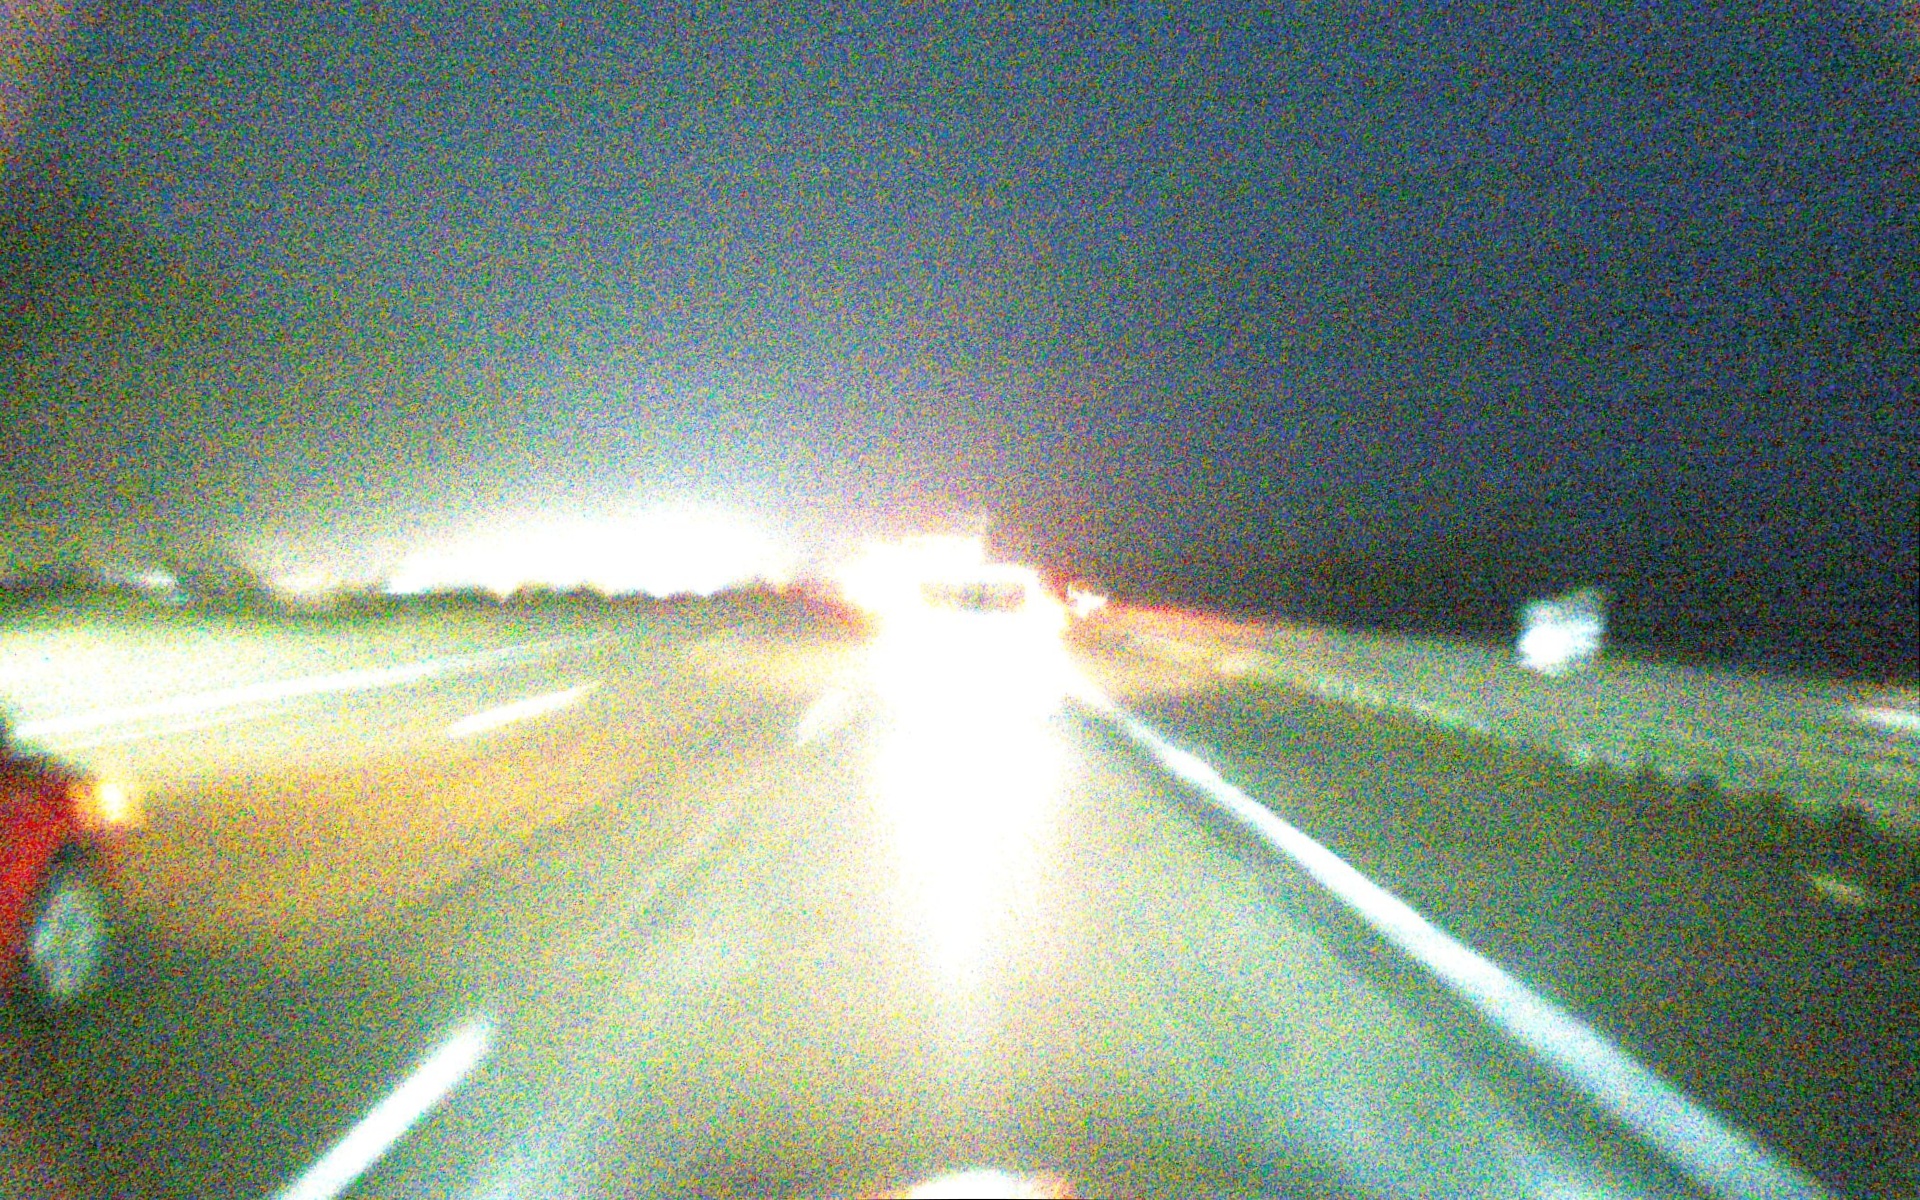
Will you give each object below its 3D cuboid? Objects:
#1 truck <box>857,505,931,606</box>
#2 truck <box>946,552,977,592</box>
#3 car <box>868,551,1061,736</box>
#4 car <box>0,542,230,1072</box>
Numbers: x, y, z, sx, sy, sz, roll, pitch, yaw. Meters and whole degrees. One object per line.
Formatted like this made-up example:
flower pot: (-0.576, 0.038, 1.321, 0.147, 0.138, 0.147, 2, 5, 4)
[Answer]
truck: (-3.854, -2.510, 100.508, 4.083, 5.641, 13.071, 1, 0, -1)
truck: (0.144, -3.691, 221.058, 3.746, 5.001, 11.603, 2, 0, -1)
car: (0.043, 0.447, 19.276, 1.913, 1.823, 5.124, 1, 0, 0)
car: (-3.851, 0.613, 4.488, 1.877, 1.622, 4.232, 1, 0, -1)
